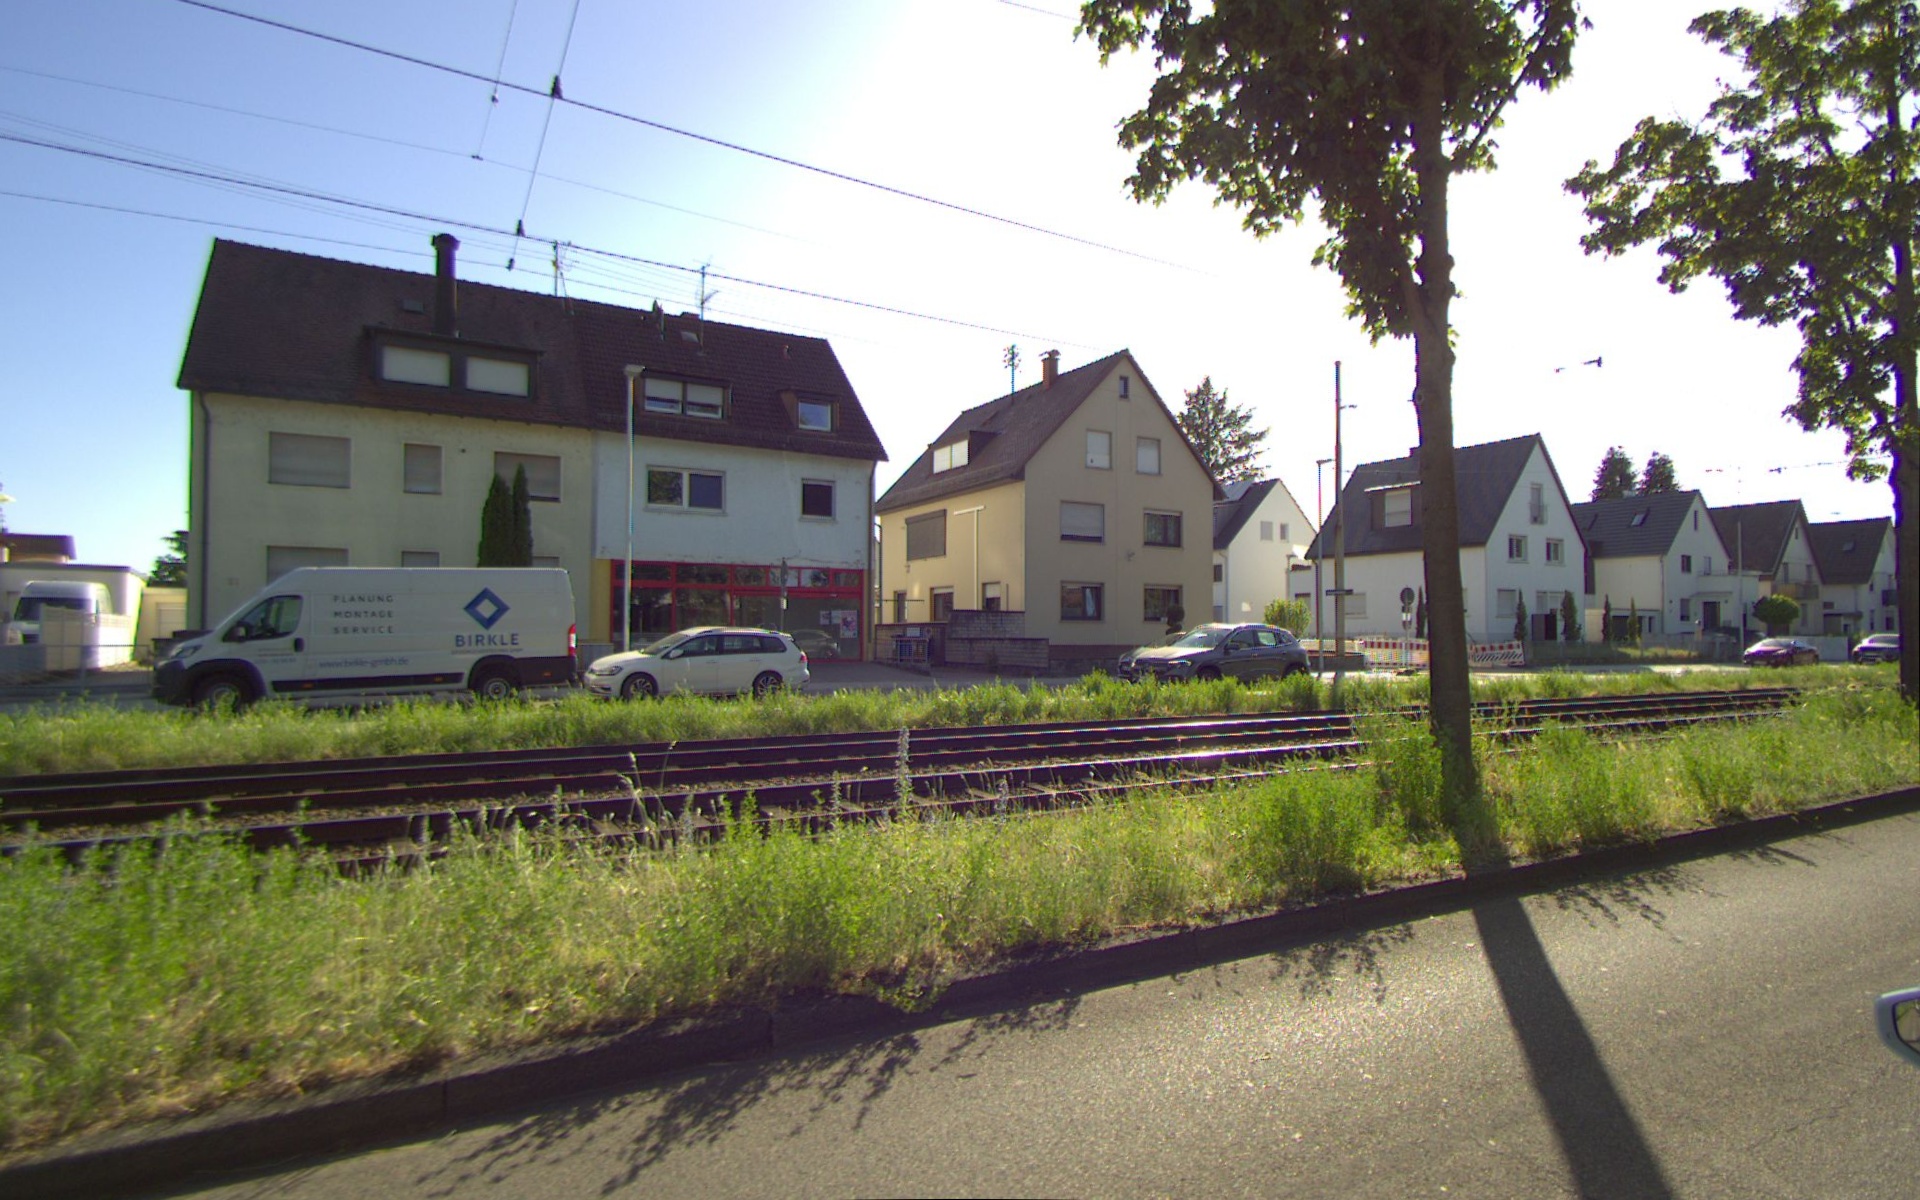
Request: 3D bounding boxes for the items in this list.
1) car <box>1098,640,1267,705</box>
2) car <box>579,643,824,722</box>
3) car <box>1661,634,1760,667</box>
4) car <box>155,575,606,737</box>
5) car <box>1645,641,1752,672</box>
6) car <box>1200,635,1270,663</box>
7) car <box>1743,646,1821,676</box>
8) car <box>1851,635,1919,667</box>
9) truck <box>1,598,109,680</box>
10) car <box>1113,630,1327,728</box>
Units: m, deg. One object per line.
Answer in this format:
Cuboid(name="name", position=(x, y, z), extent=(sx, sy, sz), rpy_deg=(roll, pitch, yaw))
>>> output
Cuboid(name="car", position=(6.227, 1.956, 28.000), extent=(4.444, 1.602, 1.984), rpy_deg=(1, -1, -30))
Cuboid(name="car", position=(-5.305, 1.647, 20.812), extent=(4.604, 1.431, 1.815), rpy_deg=(2, -2, -31))
Cuboid(name="car", position=(41.066, 2.747, 55.022), extent=(1.979, 1.691, 3.963), rpy_deg=(2, -2, -33))
Cuboid(name="car", position=(-9.969, 0.961, 17.956), extent=(6.598, 2.491, 1.984), rpy_deg=(2, -2, -31))
Cuboid(name="car", position=(38.863, 2.964, 52.927), extent=(1.917, 1.483, 4.188), rpy_deg=(2, -2, -33))
Cuboid(name="car", position=(17.783, 3.154, 64.961), extent=(3.942, 1.799, 1.990), rpy_deg=(1, -2, -22))
Cuboid(name="car", position=(38.408, 2.833, 46.928), extent=(3.951, 1.343, 1.487), rpy_deg=(2, -2, -29))
Cuboid(name="car", position=(48.933, 2.683, 52.901), extent=(4.333, 1.589, 1.637), rpy_deg=(2, -2, -29))
Cuboid(name="truck", position=(-27.333, 1.145, 30.479), extent=(1.850, 2.320, 3.962), rpy_deg=(2, -2, -34))
Cuboid(name="car", position=(5.694, 1.653, 21.874), extent=(4.469, 1.908, 1.907), rpy_deg=(2, -2, -29))
